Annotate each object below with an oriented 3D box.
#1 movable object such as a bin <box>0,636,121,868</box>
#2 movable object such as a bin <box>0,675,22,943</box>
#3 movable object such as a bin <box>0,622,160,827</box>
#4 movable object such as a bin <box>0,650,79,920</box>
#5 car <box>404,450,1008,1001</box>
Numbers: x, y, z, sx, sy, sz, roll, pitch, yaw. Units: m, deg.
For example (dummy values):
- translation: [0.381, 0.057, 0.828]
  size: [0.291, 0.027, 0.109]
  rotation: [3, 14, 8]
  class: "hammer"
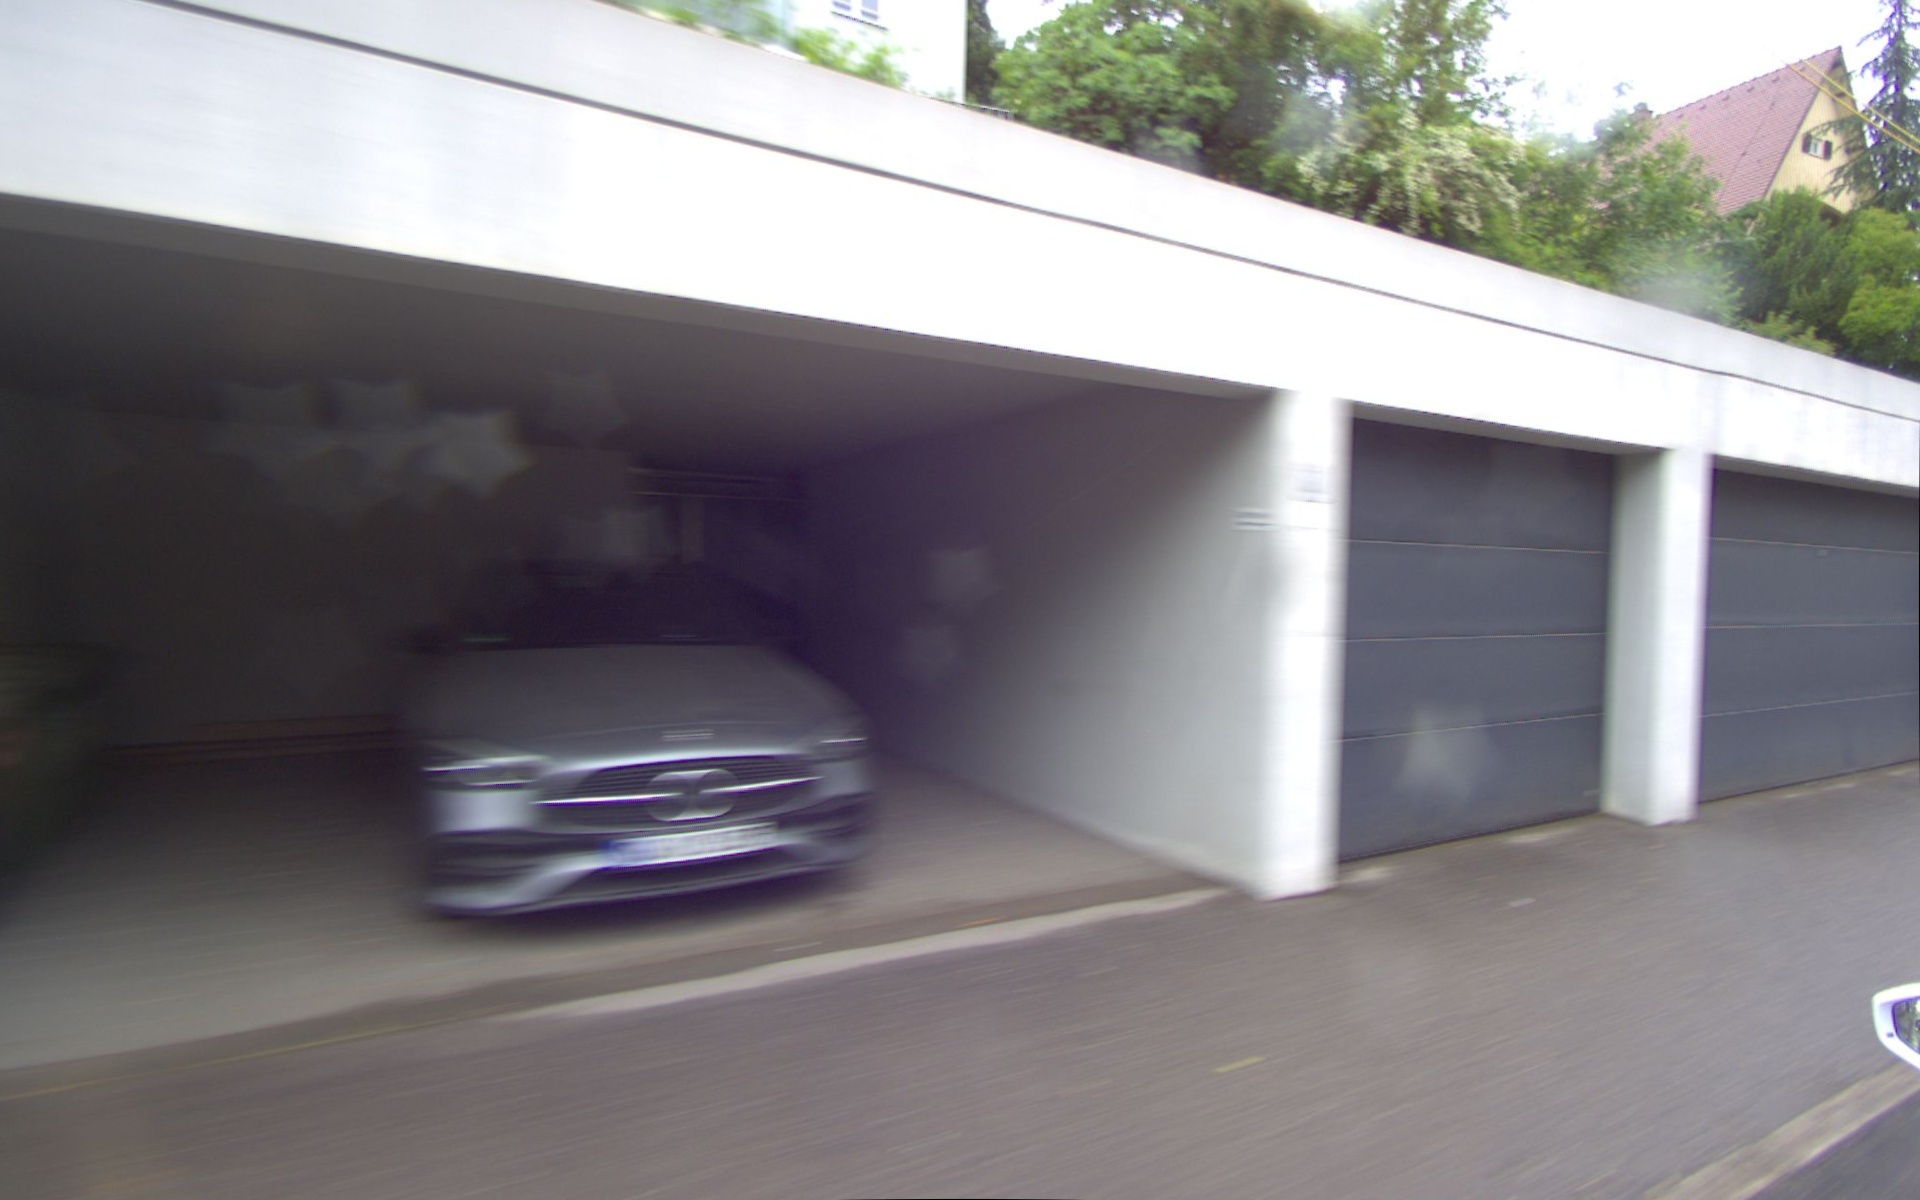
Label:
- translation: [-4.241, 0.650, 4.473]
  size: [0.649, 0.916, 0.680]
  rotation: [2, 3, -30]
  class: "movable object such as a bin"
- translation: [-3.530, 0.739, 3.190]
  size: [0.649, 0.916, 0.680]
  rotation: [2, 3, -30]
  class: "movable object such as a bin"
- translation: [-4.572, 0.606, 5.126]
  size: [0.649, 0.916, 0.680]
  rotation: [2, 3, -30]
  class: "movable object such as a bin"
- translation: [-3.875, 0.684, 3.820]
  size: [0.649, 0.916, 0.680]
  rotation: [2, 3, -30]
  class: "movable object such as a bin"
- translation: [-1.827, 0.285, 5.560]
  size: [2.086, 1.729, 4.379]
  rotation: [2, 3, -30]
  class: "car"
